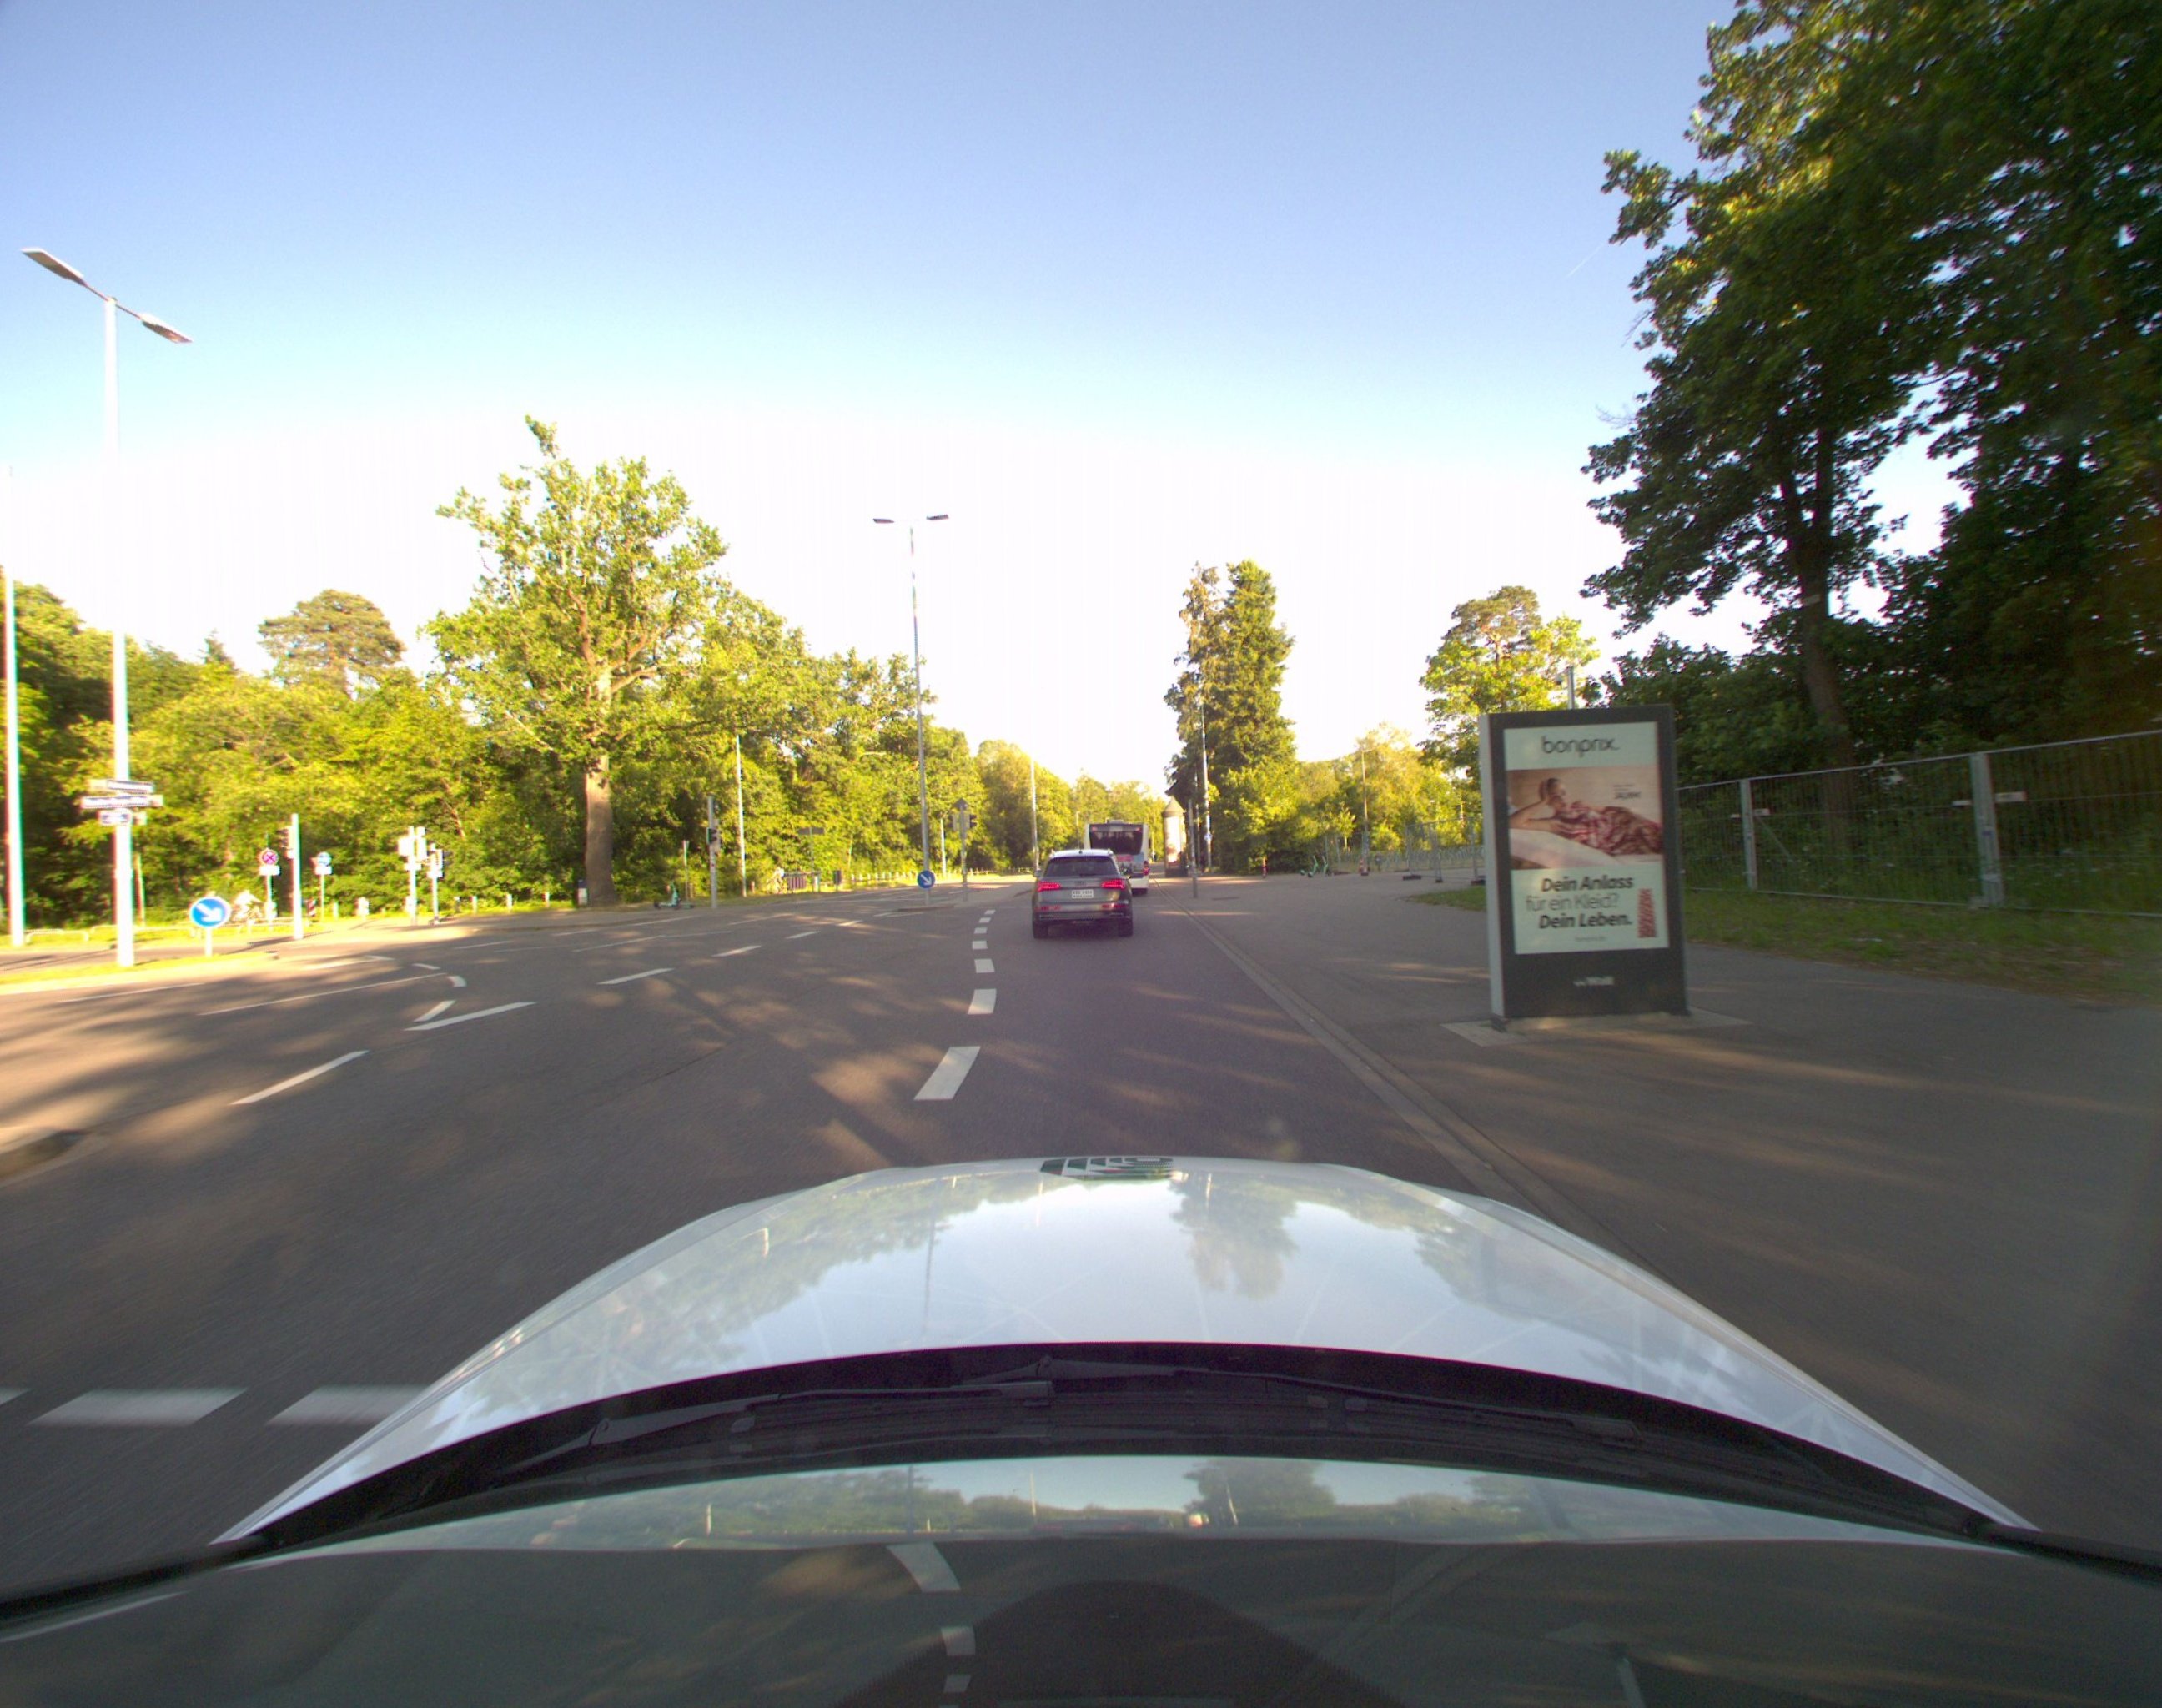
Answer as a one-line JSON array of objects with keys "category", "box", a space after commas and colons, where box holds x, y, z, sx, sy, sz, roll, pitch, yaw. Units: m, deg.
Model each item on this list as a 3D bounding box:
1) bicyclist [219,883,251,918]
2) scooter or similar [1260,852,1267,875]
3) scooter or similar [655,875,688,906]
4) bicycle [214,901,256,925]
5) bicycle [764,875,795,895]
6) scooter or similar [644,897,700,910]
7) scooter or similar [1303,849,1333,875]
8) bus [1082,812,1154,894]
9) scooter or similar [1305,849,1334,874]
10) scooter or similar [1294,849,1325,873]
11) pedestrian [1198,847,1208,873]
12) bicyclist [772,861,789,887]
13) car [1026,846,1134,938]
[{"category": "bicyclist", "box": [-37.221, 2.028, 35.817, 0.790, 1.483, 0.734, -1, -1, 24]}, {"category": "scooter or similar", "box": [9.620, 0.501, 42.982, 0.279, 1.171, 1.413, -4, 0, 12]}, {"category": "scooter or similar", "box": [-16.236, 1.453, 32.286, 1.060, 1.146, 0.395, -3, 0, 10]}, {"category": "bicycle", "box": [-37.181, 2.588, 35.790, 1.571, 0.977, 0.789, -1, -1, 24]}, {"category": "bicycle", "box": [-19.155, 1.981, 51.833, 0.674, 1.154, 1.995, -1, 1, 21]}, {"category": "scooter or similar", "box": [-15.529, 1.866, 30.968, 1.398, 0.339, 1.264, -3, 0, 10]}, {"category": "scooter or similar", "box": [11.513, 0.380, 39.541, 1.258, 1.147, 0.395, -4, -2, 10]}, {"category": "bus", "box": [1.650, 0.008, 37.020, 2.679, 3.042, 12.046, -1, -1, 2]}, {"category": "scooter or similar", "box": [11.763, 0.371, 40.152, 1.233, 1.167, 0.396, -4, -2, 27]}, {"category": "scooter or similar", "box": [12.102, 0.377, 43.121, 1.424, 1.167, 0.396, -4, -2, 31]}, {"category": "pedestrian", "box": [8.162, 0.401, 54.459, 0.622, 1.688, 0.885, -1, -1, 12]}, {"category": "bicyclist", "box": [-19.139, 1.275, 51.890, 0.557, 1.551, 0.804, -1, 2, 20]}, {"category": "car", "box": [0.068, 0.678, 16.701, 1.886, 1.605, 4.546, -1, 0, 2]}]
